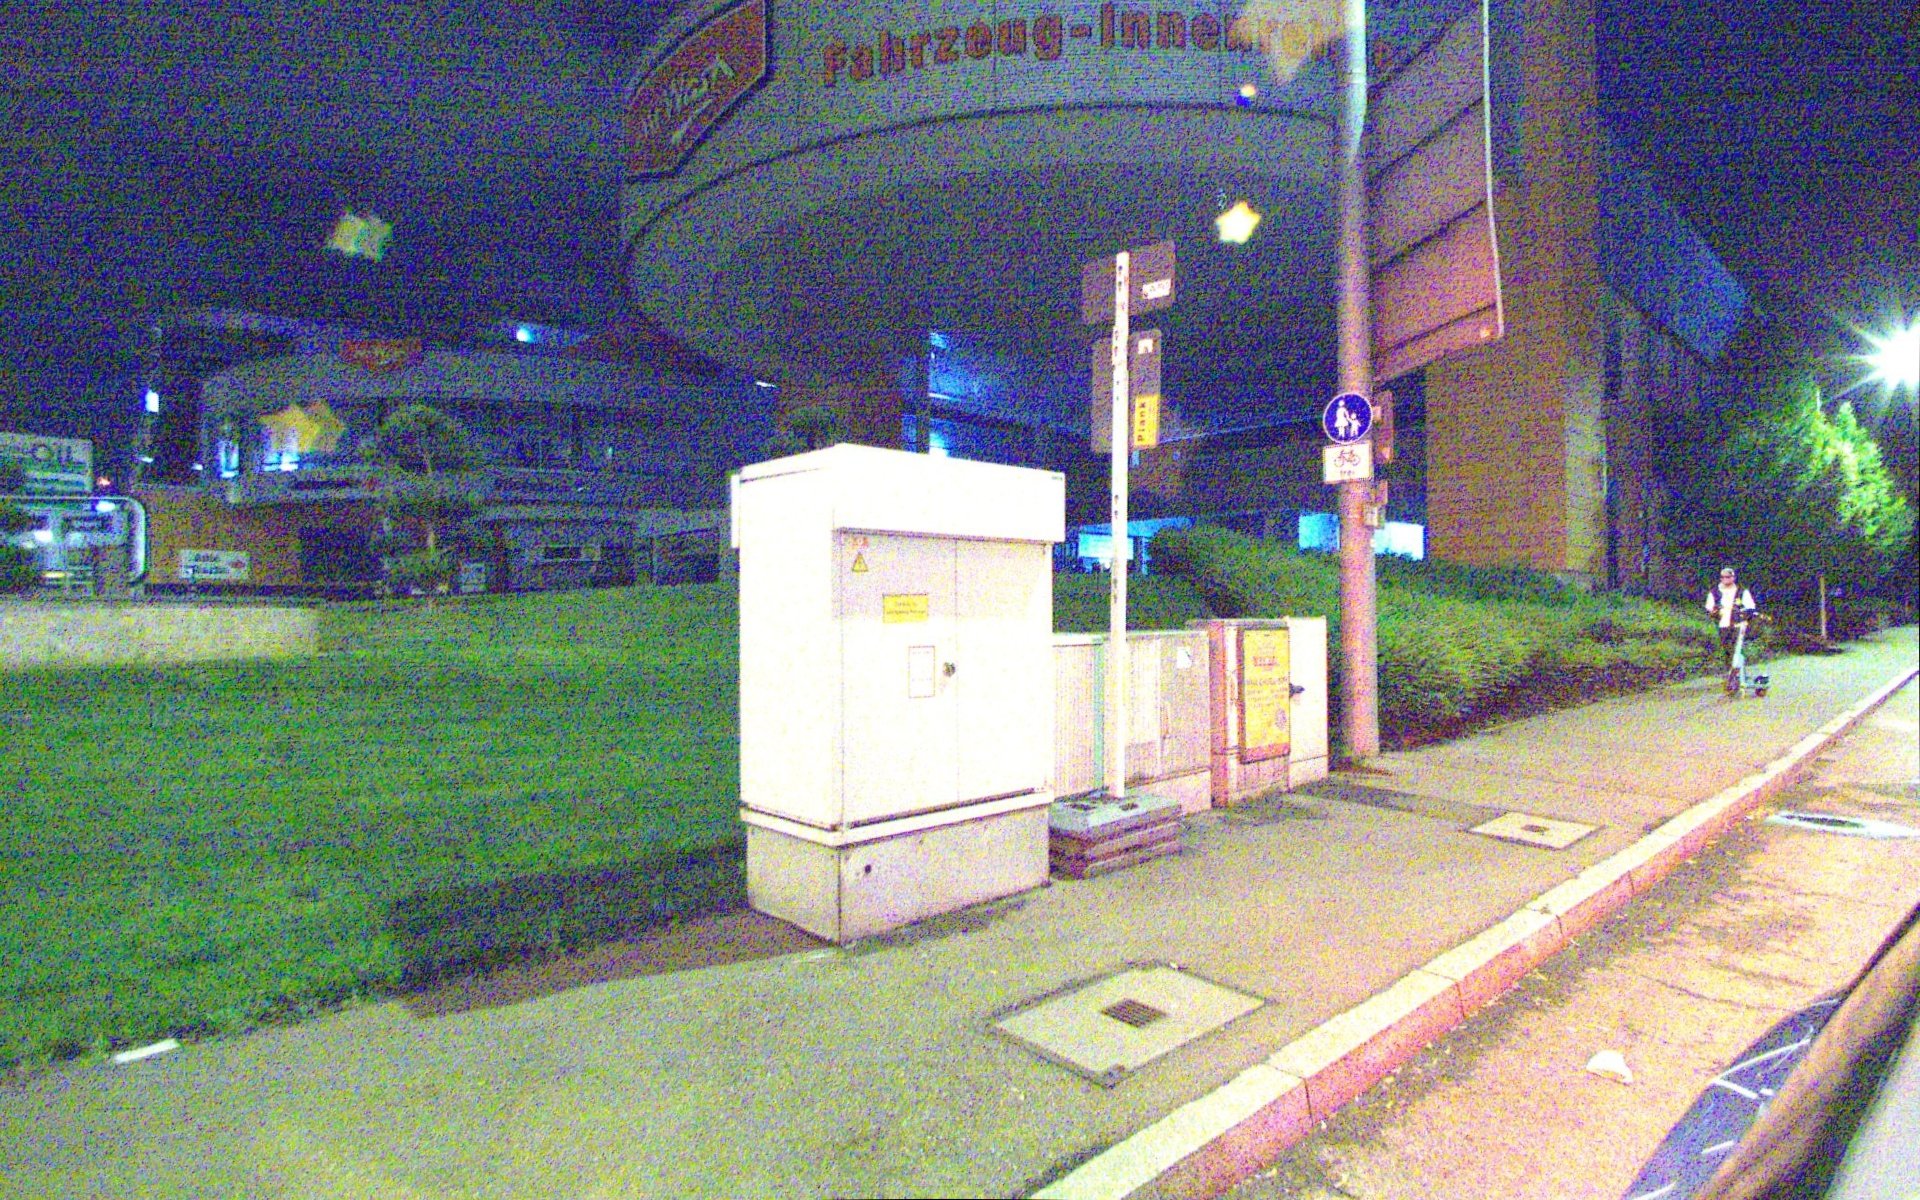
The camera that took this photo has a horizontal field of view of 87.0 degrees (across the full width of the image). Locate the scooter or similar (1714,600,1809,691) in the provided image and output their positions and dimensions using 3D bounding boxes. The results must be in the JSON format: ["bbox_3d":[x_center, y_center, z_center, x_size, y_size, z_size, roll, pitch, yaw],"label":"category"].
[{"bbox_3d":[11.049,0.615,13.952,1.111,1.217,0.470,1,-1,-17],"label":"scooter or similar"}]

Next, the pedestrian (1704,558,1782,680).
[{"bbox_3d":[12.683,0.287,16.393,1.016,1.888,0.819,0,0,-41],"label":"pedestrian"}]
